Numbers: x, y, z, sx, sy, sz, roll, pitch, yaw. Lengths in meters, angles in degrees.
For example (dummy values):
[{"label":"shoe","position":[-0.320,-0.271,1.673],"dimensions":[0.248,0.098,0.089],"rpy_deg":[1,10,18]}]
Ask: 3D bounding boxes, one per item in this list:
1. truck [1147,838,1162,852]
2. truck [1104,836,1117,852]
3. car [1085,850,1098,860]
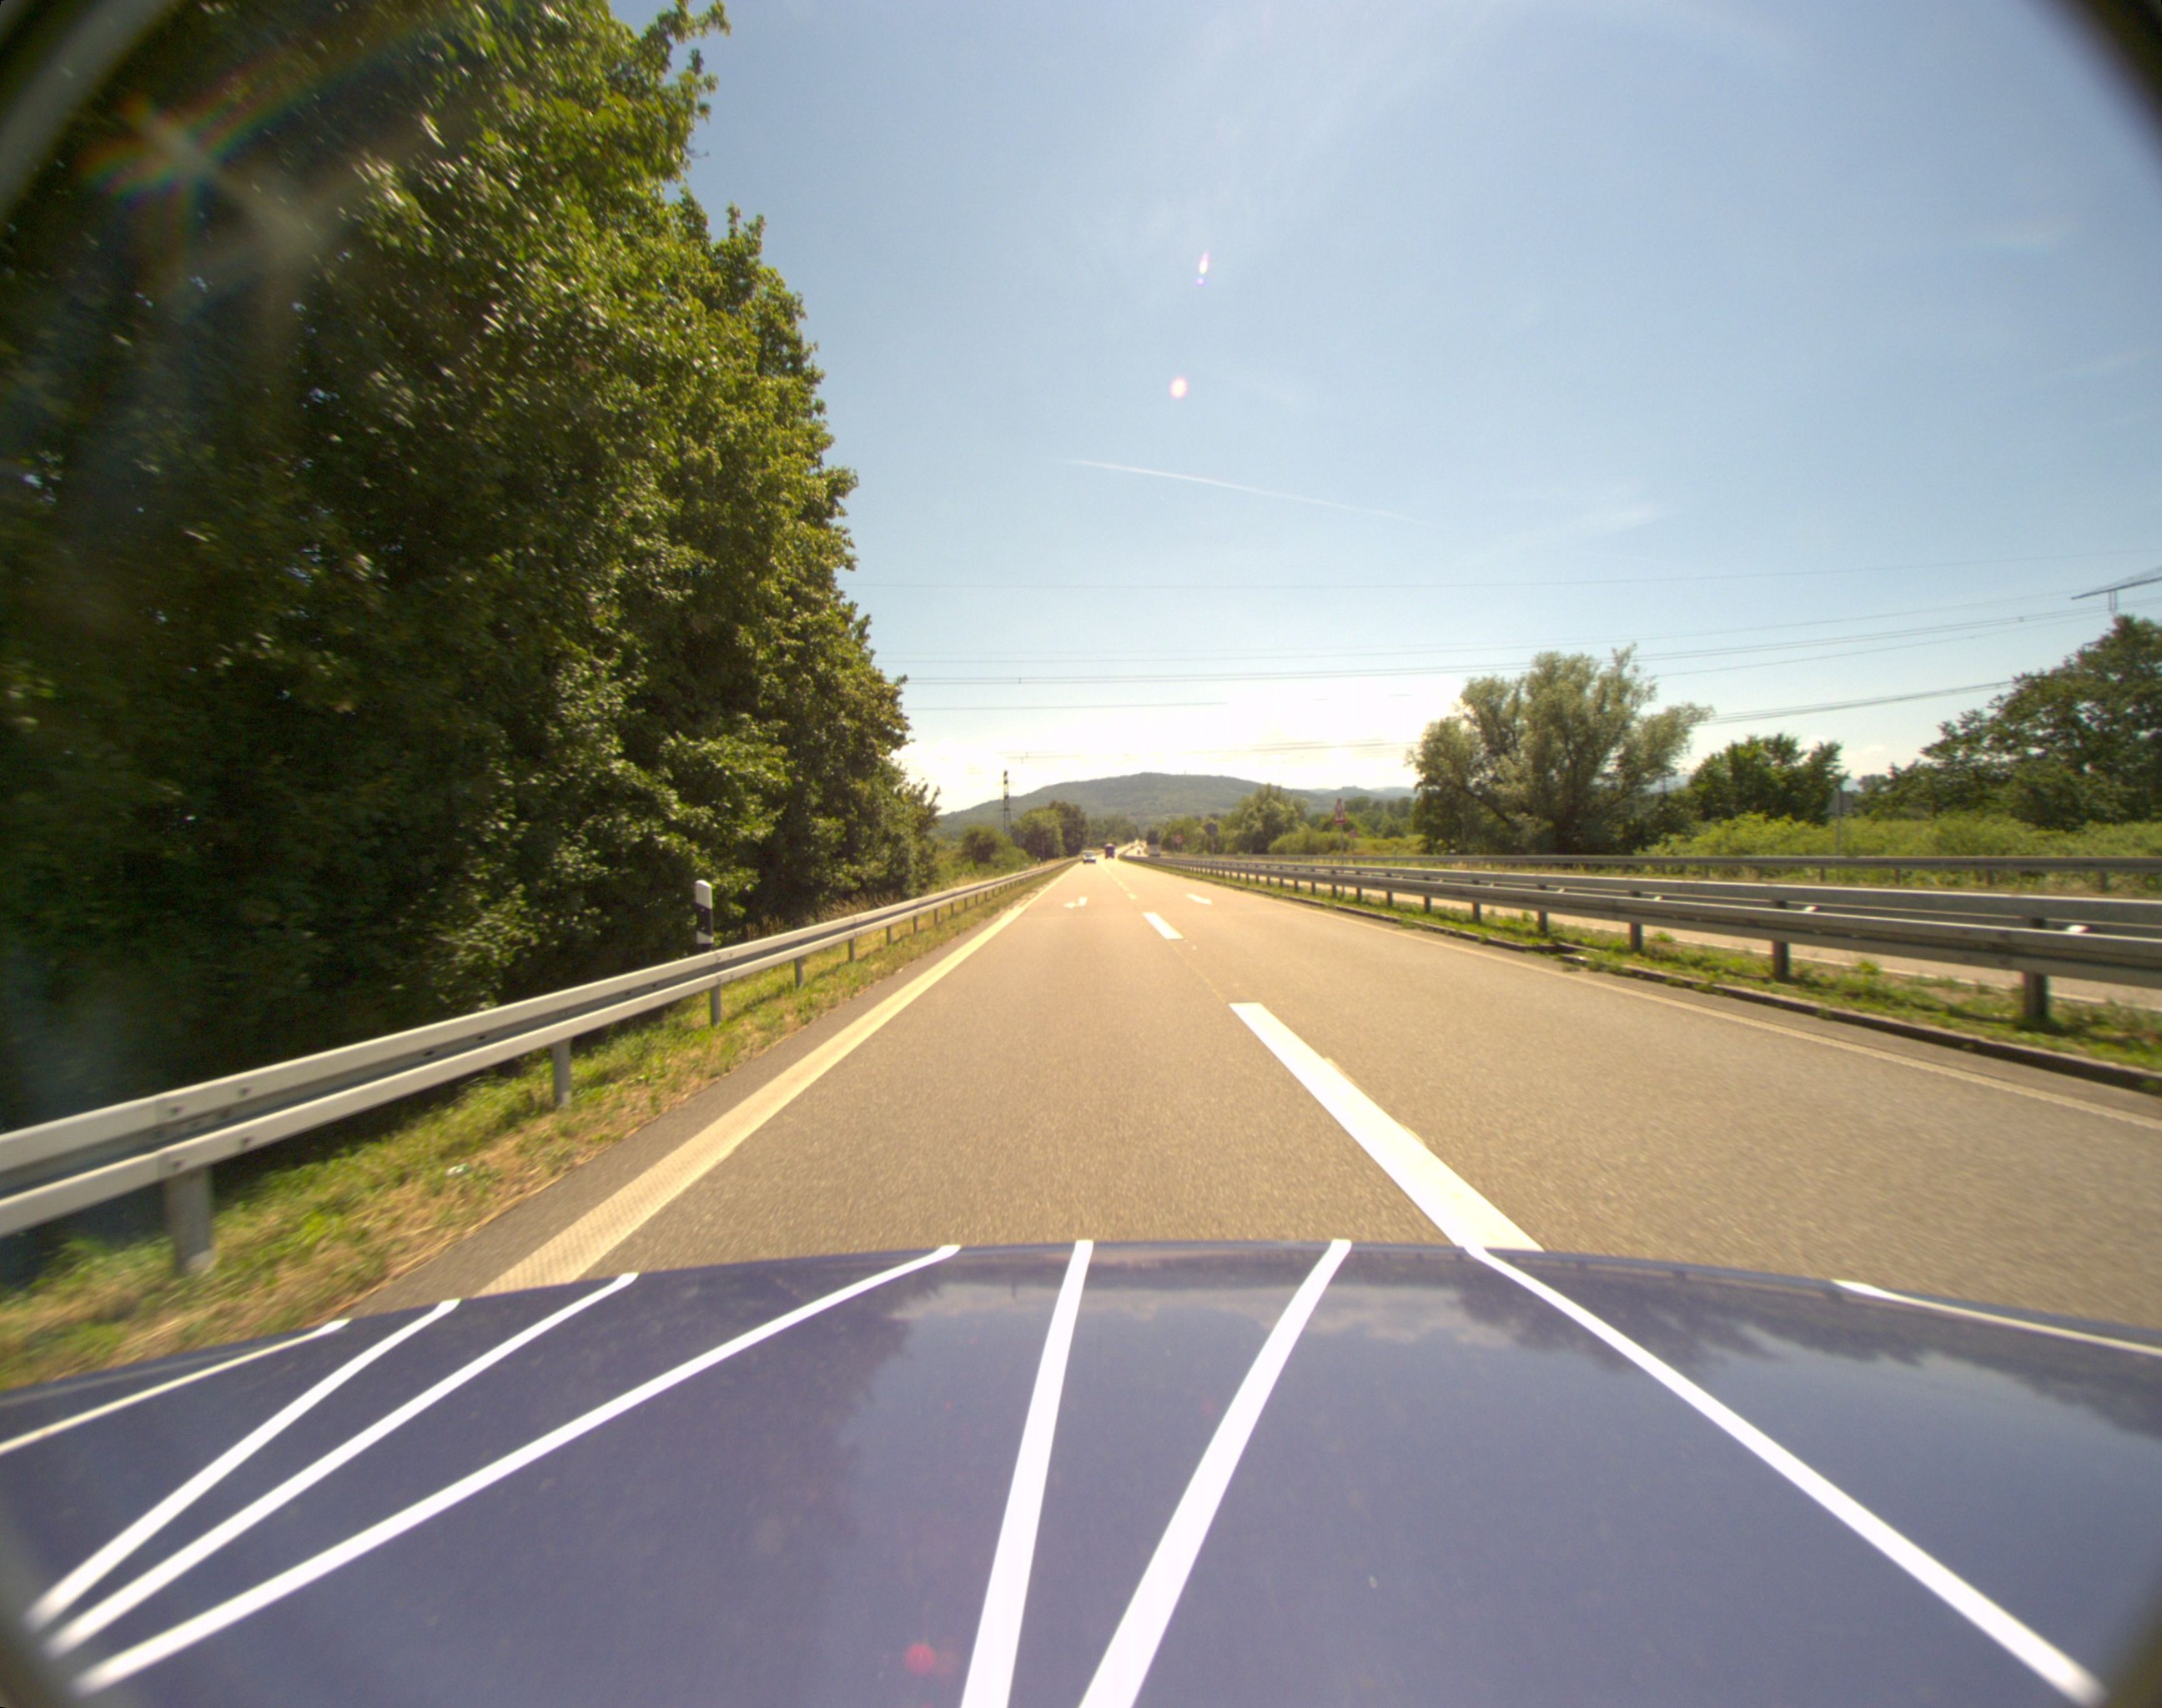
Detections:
[{"label":"truck","position":[17.429,-2.162,180.217],"dimensions":[2.725,3.174,8.405],"rpy_deg":[-1,0,1]},{"label":"truck","position":[7.988,-2.717,203.693],"dimensions":[2.826,4.143,9.950],"rpy_deg":[-2,1,5]},{"label":"car","position":[1.486,0.122,110.426],"dimensions":[1.577,1.387,3.486],"rpy_deg":[-2,1,5]}]
